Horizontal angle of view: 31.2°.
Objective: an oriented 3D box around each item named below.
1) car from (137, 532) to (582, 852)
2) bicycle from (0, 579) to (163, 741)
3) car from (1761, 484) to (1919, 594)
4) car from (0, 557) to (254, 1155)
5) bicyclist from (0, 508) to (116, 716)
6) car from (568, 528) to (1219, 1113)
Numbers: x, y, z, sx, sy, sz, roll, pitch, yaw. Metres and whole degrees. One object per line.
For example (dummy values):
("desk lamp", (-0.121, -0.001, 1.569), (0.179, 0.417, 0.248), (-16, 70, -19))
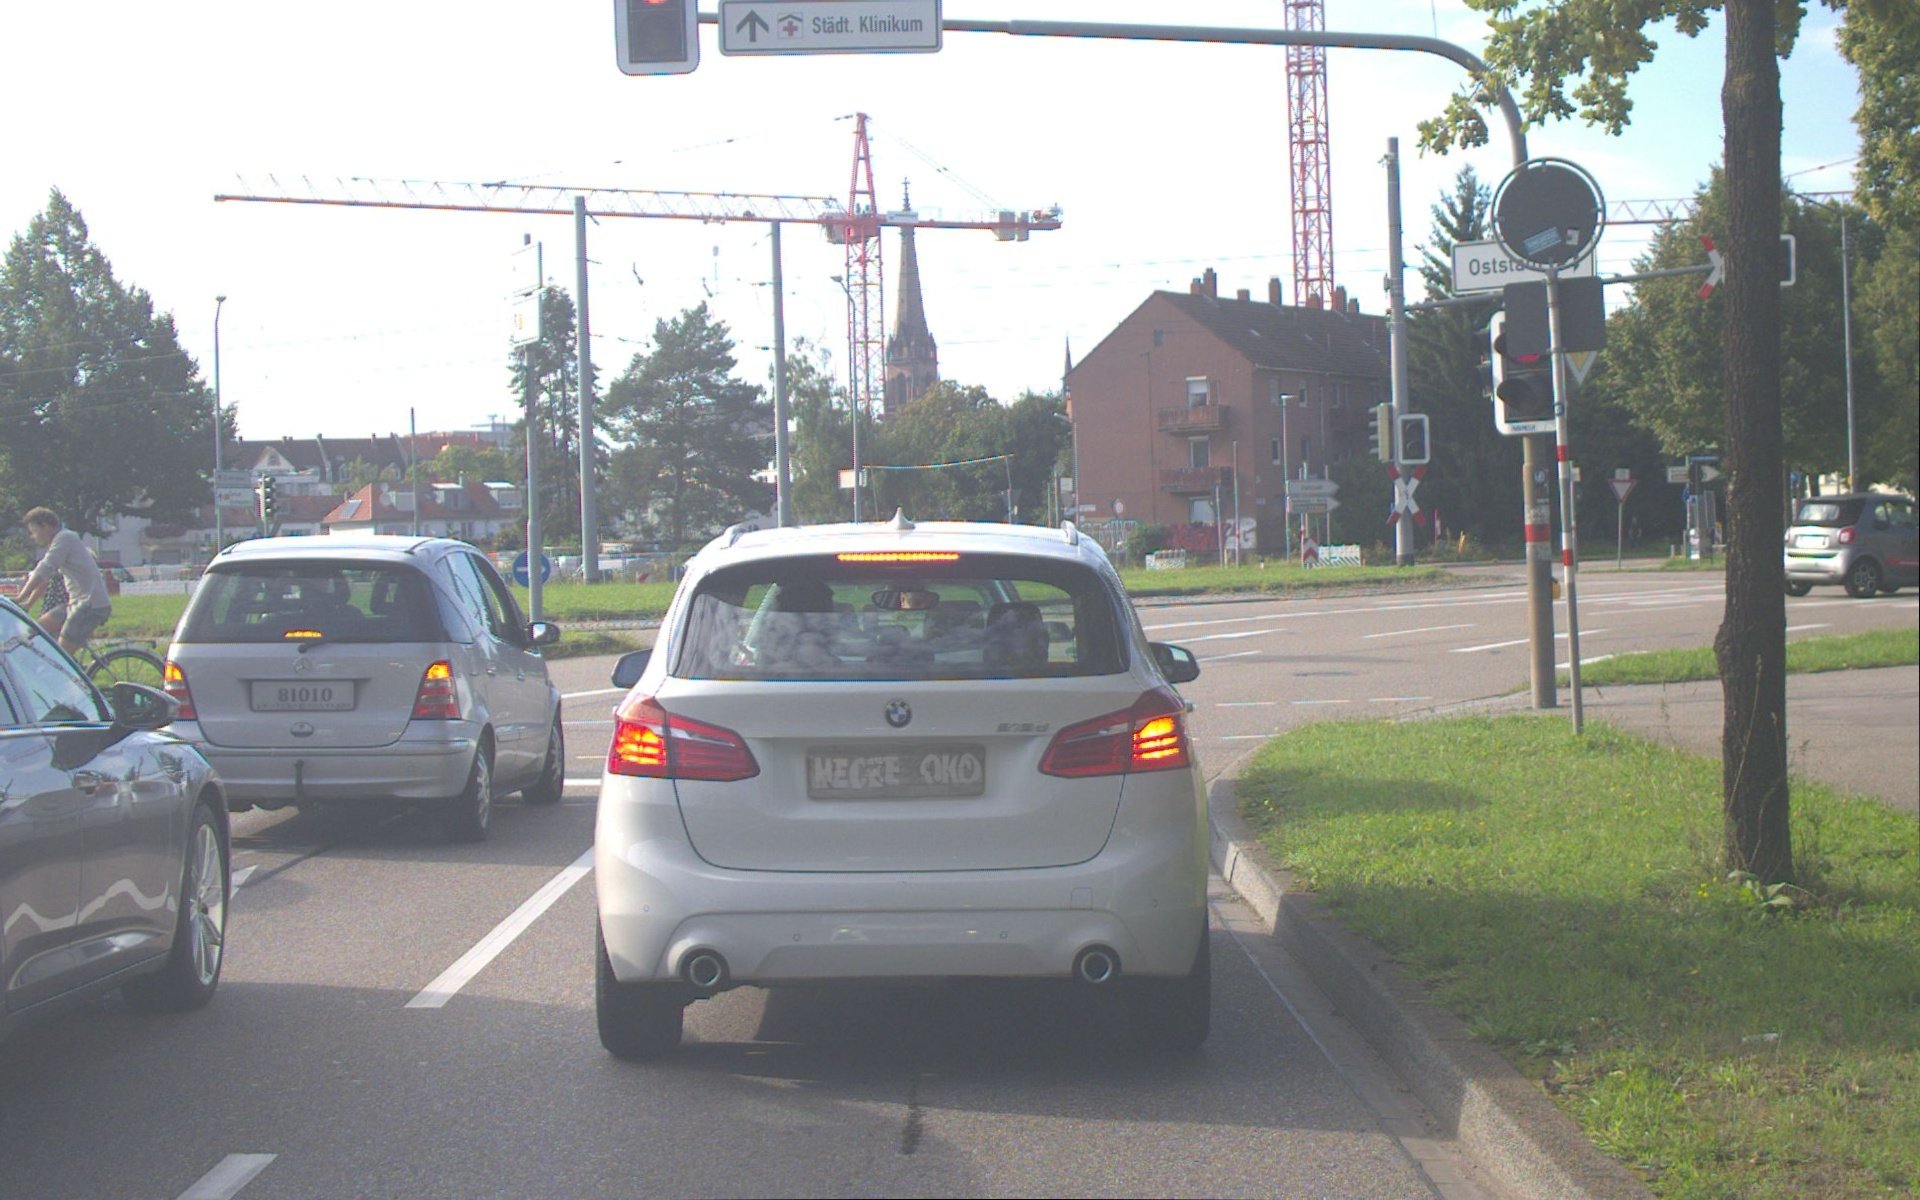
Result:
("car", (-3.147, 0.410, 18.771), (1.729, 1.553, 4.058), (0, 1, 0))
("bicycle", (-6.948, 0.453, 26.008), (1.724, 1.159, 0.656), (-2, 2, -16))
("car", (13.821, -0.937, 51.476), (3.187, 1.568, 1.575), (-2, 2, -19))
("car", (-3.336, 0.627, 9.471), (1.890, 1.478, 4.613), (0, 1, -1))
("bicyclist", (-6.876, 0.085, 26.034), (0.848, 1.521, 0.741), (-2, 1, -17))
("car", (-0.206, 0.552, 11.201), (1.729, 1.553, 4.058), (0, 1, -1))
